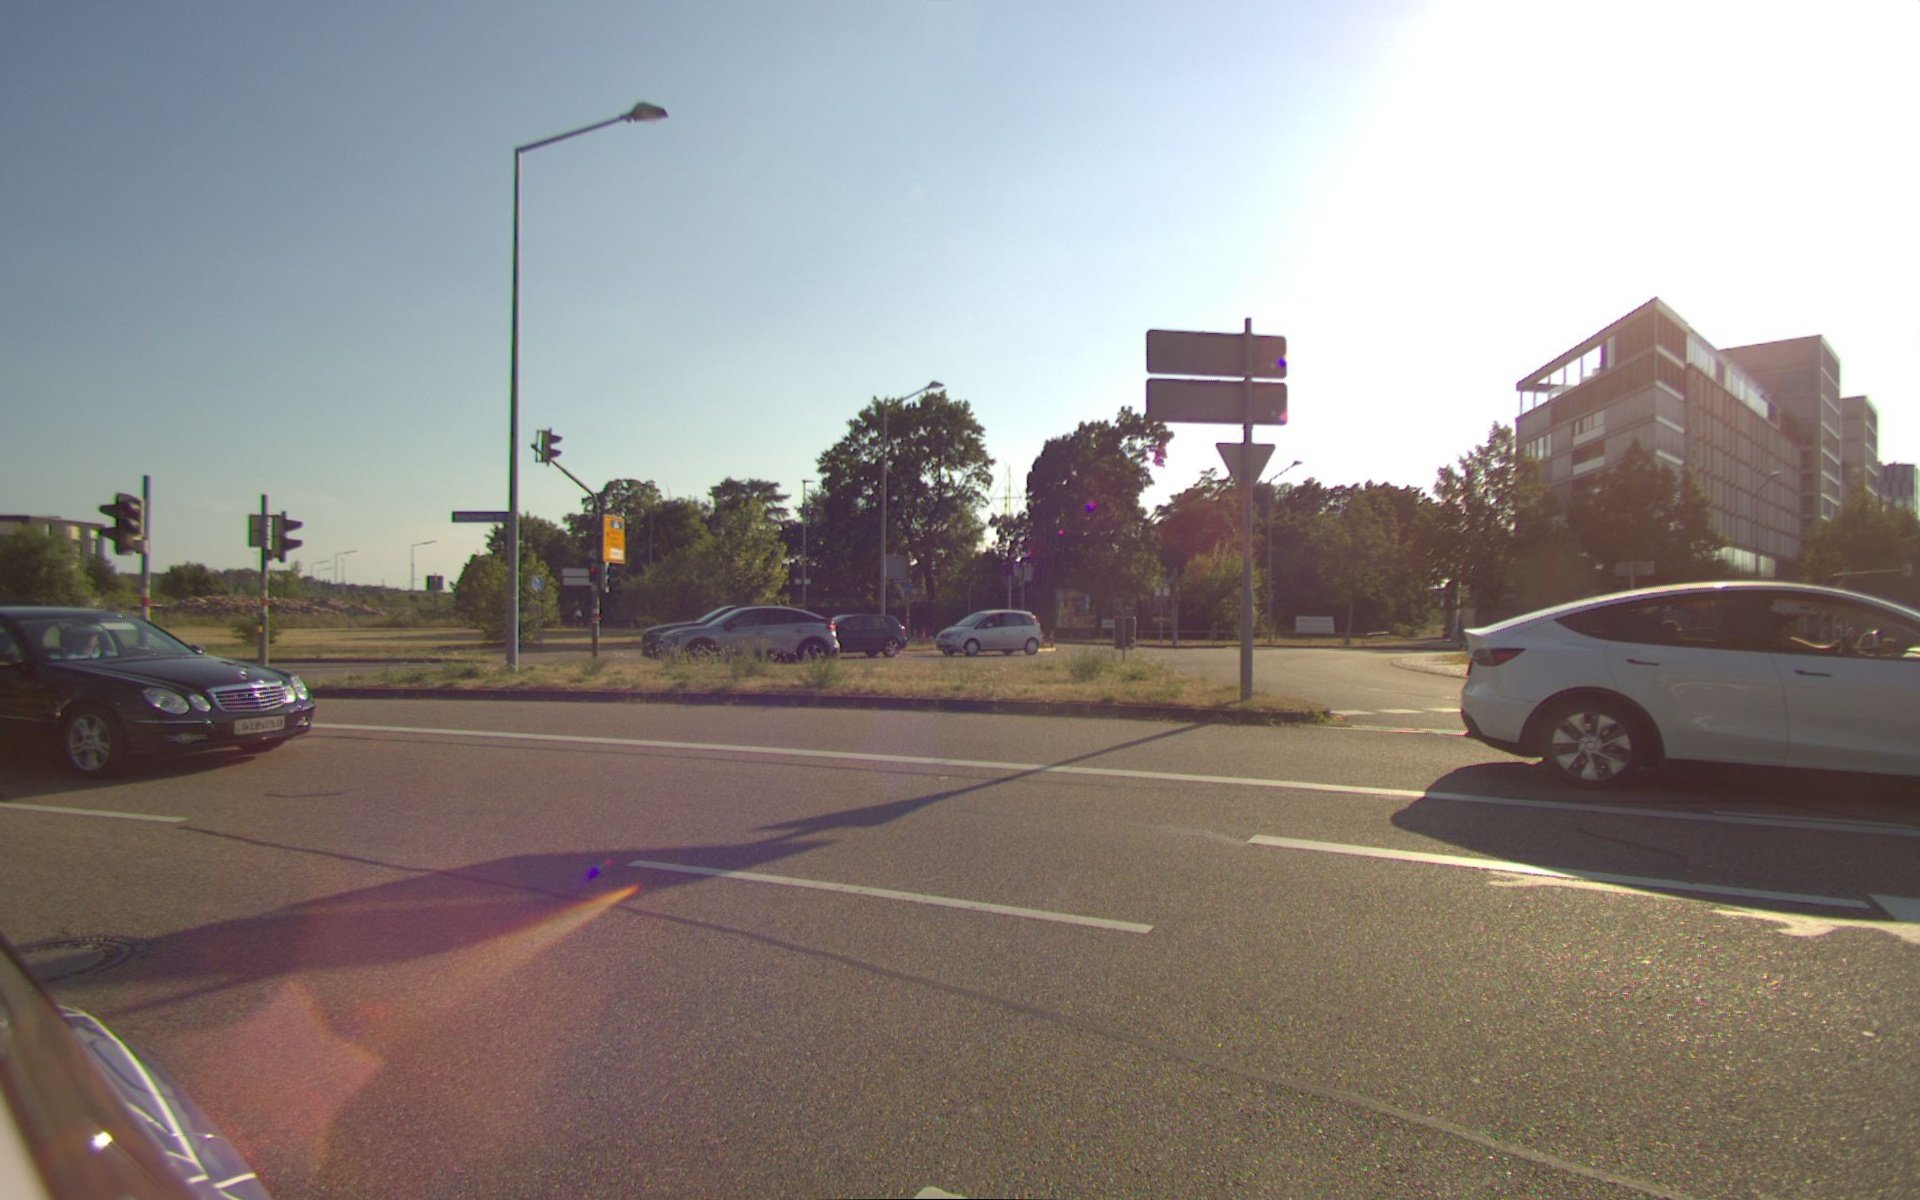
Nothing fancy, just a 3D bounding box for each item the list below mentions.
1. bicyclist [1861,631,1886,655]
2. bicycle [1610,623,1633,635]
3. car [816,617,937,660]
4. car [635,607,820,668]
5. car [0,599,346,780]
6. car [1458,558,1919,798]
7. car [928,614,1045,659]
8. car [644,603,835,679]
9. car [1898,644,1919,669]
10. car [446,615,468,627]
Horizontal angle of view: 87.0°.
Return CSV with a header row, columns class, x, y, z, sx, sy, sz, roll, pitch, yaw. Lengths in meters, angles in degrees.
class,x,y,z,sx,sy,sz,roll,pitch,yaw
bicyclist,53.502,2.497,59.277,0.954,1.368,0.686,-1,-2,32
bicycle,41.840,1.841,64.034,1.692,0.750,0.482,1,-2,-28
car,-2.777,1.292,33.931,3.765,1.359,1.485,2,-2,-31
car,-6.191,1.011,27.052,4.564,1.524,1.658,1,-2,-26
car,-8.432,0.735,9.536,4.443,1.447,1.806,0,0,9
car,6.469,0.518,7.757,4.660,1.611,1.722,0,0,31
car,0.967,1.285,36.153,3.876,1.537,1.661,1,-2,-31
car,-5.226,0.940,24.036,4.127,1.686,1.782,1,-1,-25
car,60.928,3.594,64.347,3.247,1.487,1.487,1,-2,-40
car,-56.531,2.340,113.736,2.804,1.302,1.318,-1,-2,43
